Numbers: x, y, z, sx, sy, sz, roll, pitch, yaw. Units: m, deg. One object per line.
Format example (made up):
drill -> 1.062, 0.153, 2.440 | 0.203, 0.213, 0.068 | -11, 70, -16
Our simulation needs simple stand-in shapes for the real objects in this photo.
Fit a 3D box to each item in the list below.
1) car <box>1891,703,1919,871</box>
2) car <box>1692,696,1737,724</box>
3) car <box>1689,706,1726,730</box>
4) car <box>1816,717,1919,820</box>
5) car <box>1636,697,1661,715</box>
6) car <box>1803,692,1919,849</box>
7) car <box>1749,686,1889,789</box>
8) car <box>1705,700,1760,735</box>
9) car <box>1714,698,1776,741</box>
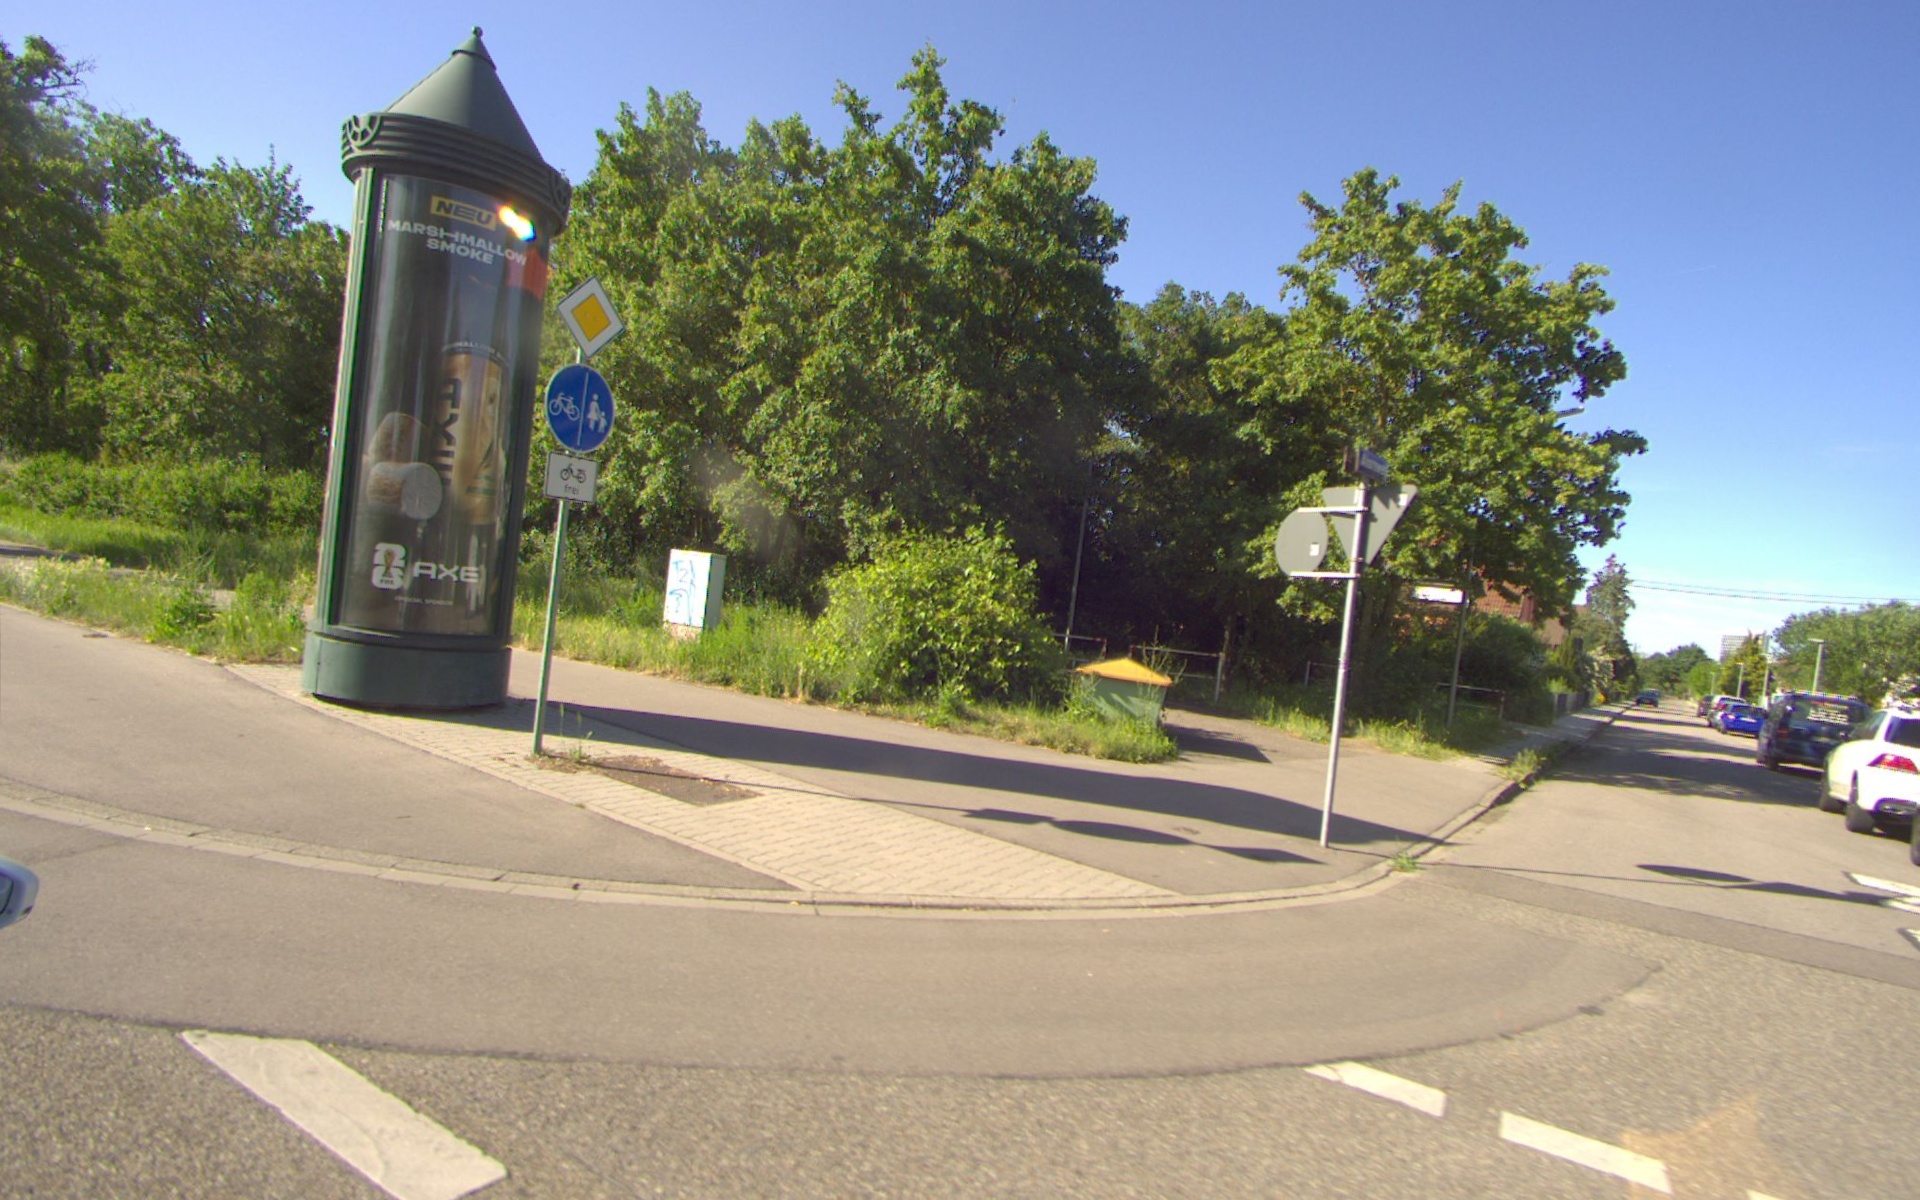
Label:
car -> 10.797, 2.077, 9.590 | 1.901, 1.824, 4.633 | 9, 1, 34
car -> 45.486, 6.619, 60.721 | 1.779, 1.364, 3.819 | 9, 1, 34
car -> 53.193, 8.364, 71.606 | 1.779, 1.364, 3.819 | 9, 1, 34
car -> 16.761, 3.025, 18.193 | 1.515, 1.508, 2.347 | 9, 1, 34
car -> 66.180, 10.197, 96.793 | 1.779, 1.364, 3.819 | 9, 1, 34
car -> 13.894, 2.456, 14.454 | 2.038, 1.892, 4.520 | 9, 1, 34
car -> 21.690, 3.401, 25.593 | 1.955, 2.071, 4.381 | 9, 1, 34
car -> 38.862, 5.902, 50.694 | 1.779, 1.364, 3.819 | 9, 1, 34
car -> 35.628, 5.383, 45.740 | 1.779, 1.414, 3.816 | 9, 3, 34
